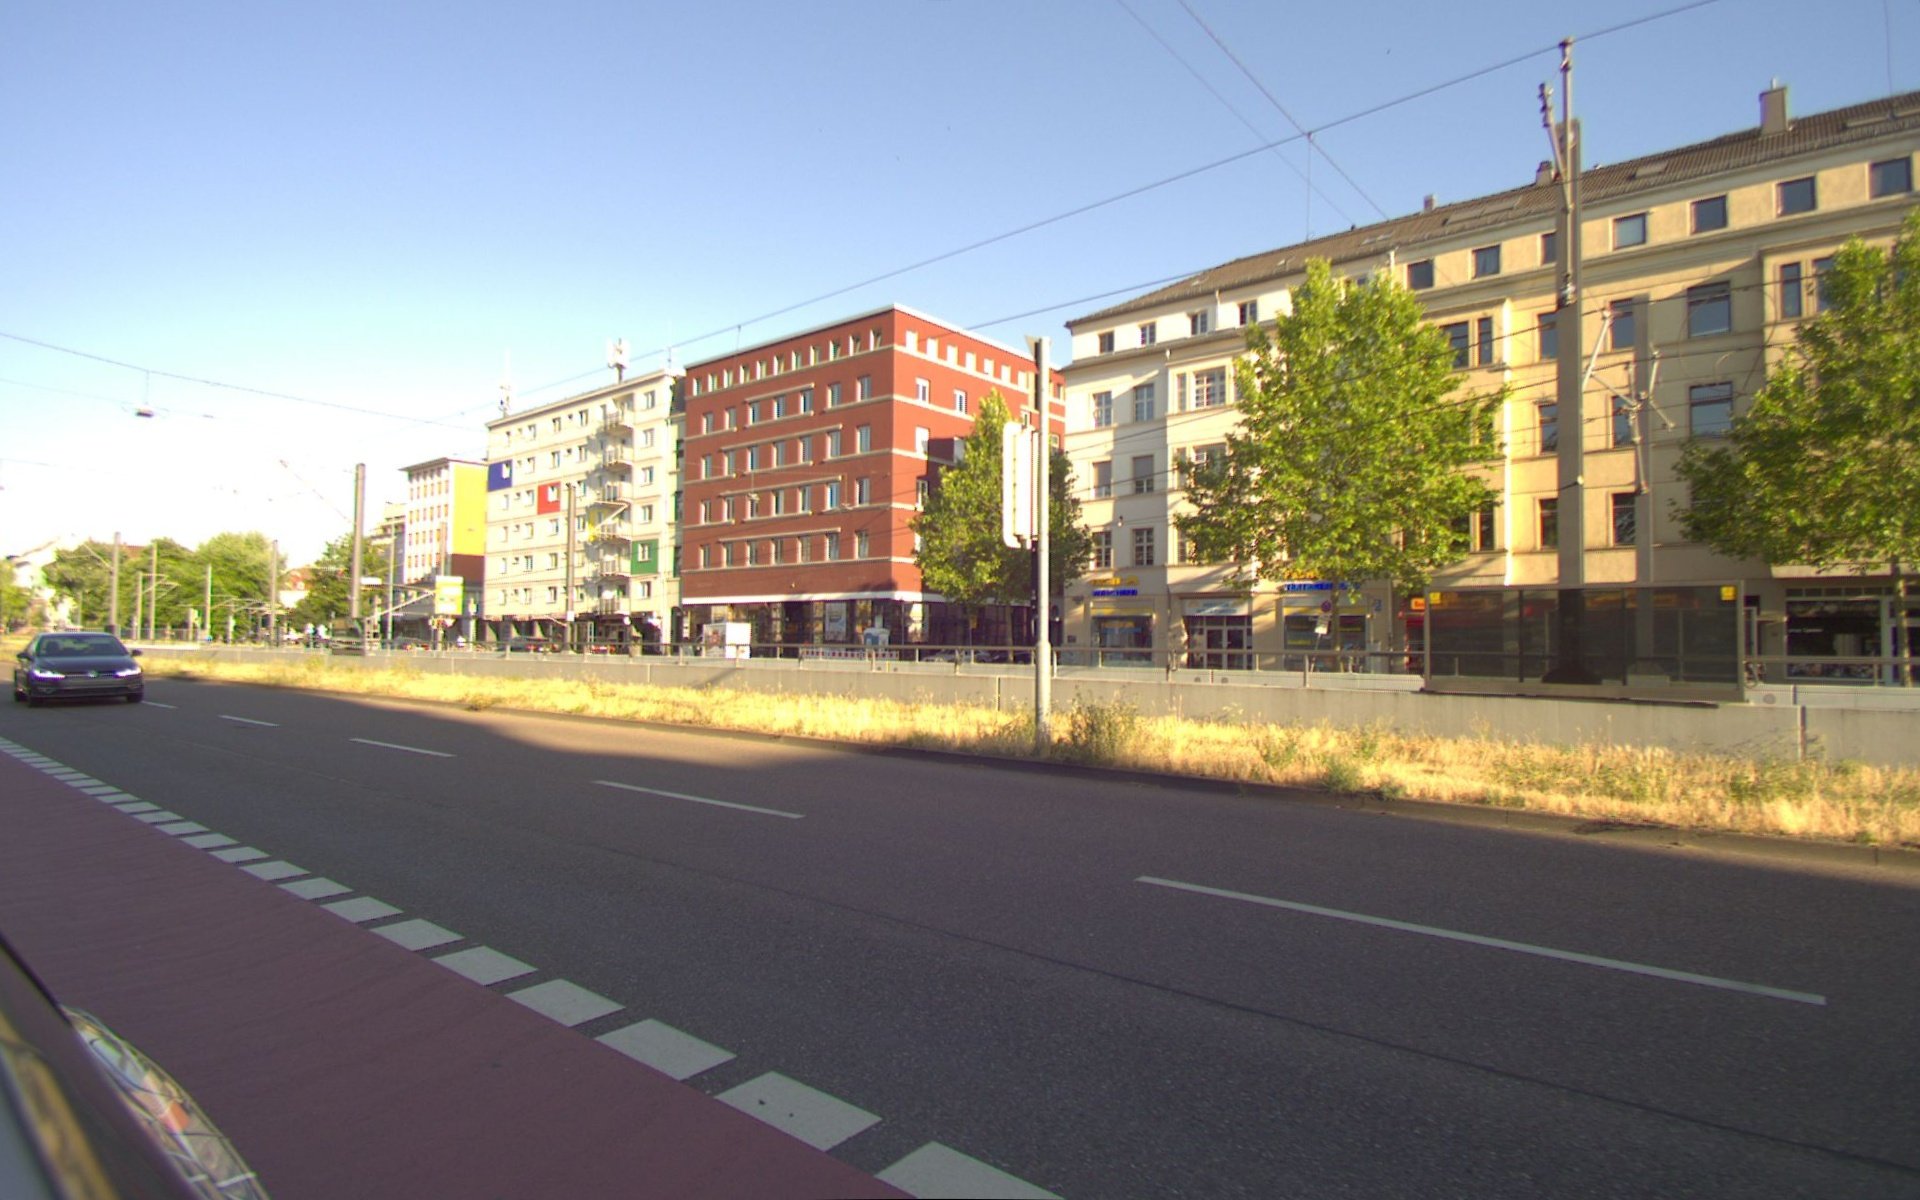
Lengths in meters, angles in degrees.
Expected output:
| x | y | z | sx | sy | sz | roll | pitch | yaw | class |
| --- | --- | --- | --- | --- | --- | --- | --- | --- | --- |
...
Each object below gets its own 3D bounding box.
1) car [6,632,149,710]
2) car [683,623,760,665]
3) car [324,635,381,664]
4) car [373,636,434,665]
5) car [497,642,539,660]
| x | y | z | sx | sy | sz | roll | pitch | yaw | class |
| --- | --- | --- | --- | --- | --- | --- | --- | --- | --- |
| -18.264 | 1.403 | 20.883 | 4.244 | 1.437 | 1.746 | -3 | -3 | 43 | car |
| -12.863 | 2.369 | 54.446 | 1.929 | 2.150 | 4.576 | 3 | -4 | -44 | car |
| -42.986 | 3.469 | 71.548 | 4.770 | 2.029 | 1.973 | -2 | -3 | 40 | car |
| -36.257 | 3.264 | 65.849 | 4.893 | 1.811 | 1.972 | -2 | -3 | 42 | car |
| -48.995 | 5.636 | 112.157 | 1.741 | 1.794 | 3.946 | -1 | -1 | 40 | car |
